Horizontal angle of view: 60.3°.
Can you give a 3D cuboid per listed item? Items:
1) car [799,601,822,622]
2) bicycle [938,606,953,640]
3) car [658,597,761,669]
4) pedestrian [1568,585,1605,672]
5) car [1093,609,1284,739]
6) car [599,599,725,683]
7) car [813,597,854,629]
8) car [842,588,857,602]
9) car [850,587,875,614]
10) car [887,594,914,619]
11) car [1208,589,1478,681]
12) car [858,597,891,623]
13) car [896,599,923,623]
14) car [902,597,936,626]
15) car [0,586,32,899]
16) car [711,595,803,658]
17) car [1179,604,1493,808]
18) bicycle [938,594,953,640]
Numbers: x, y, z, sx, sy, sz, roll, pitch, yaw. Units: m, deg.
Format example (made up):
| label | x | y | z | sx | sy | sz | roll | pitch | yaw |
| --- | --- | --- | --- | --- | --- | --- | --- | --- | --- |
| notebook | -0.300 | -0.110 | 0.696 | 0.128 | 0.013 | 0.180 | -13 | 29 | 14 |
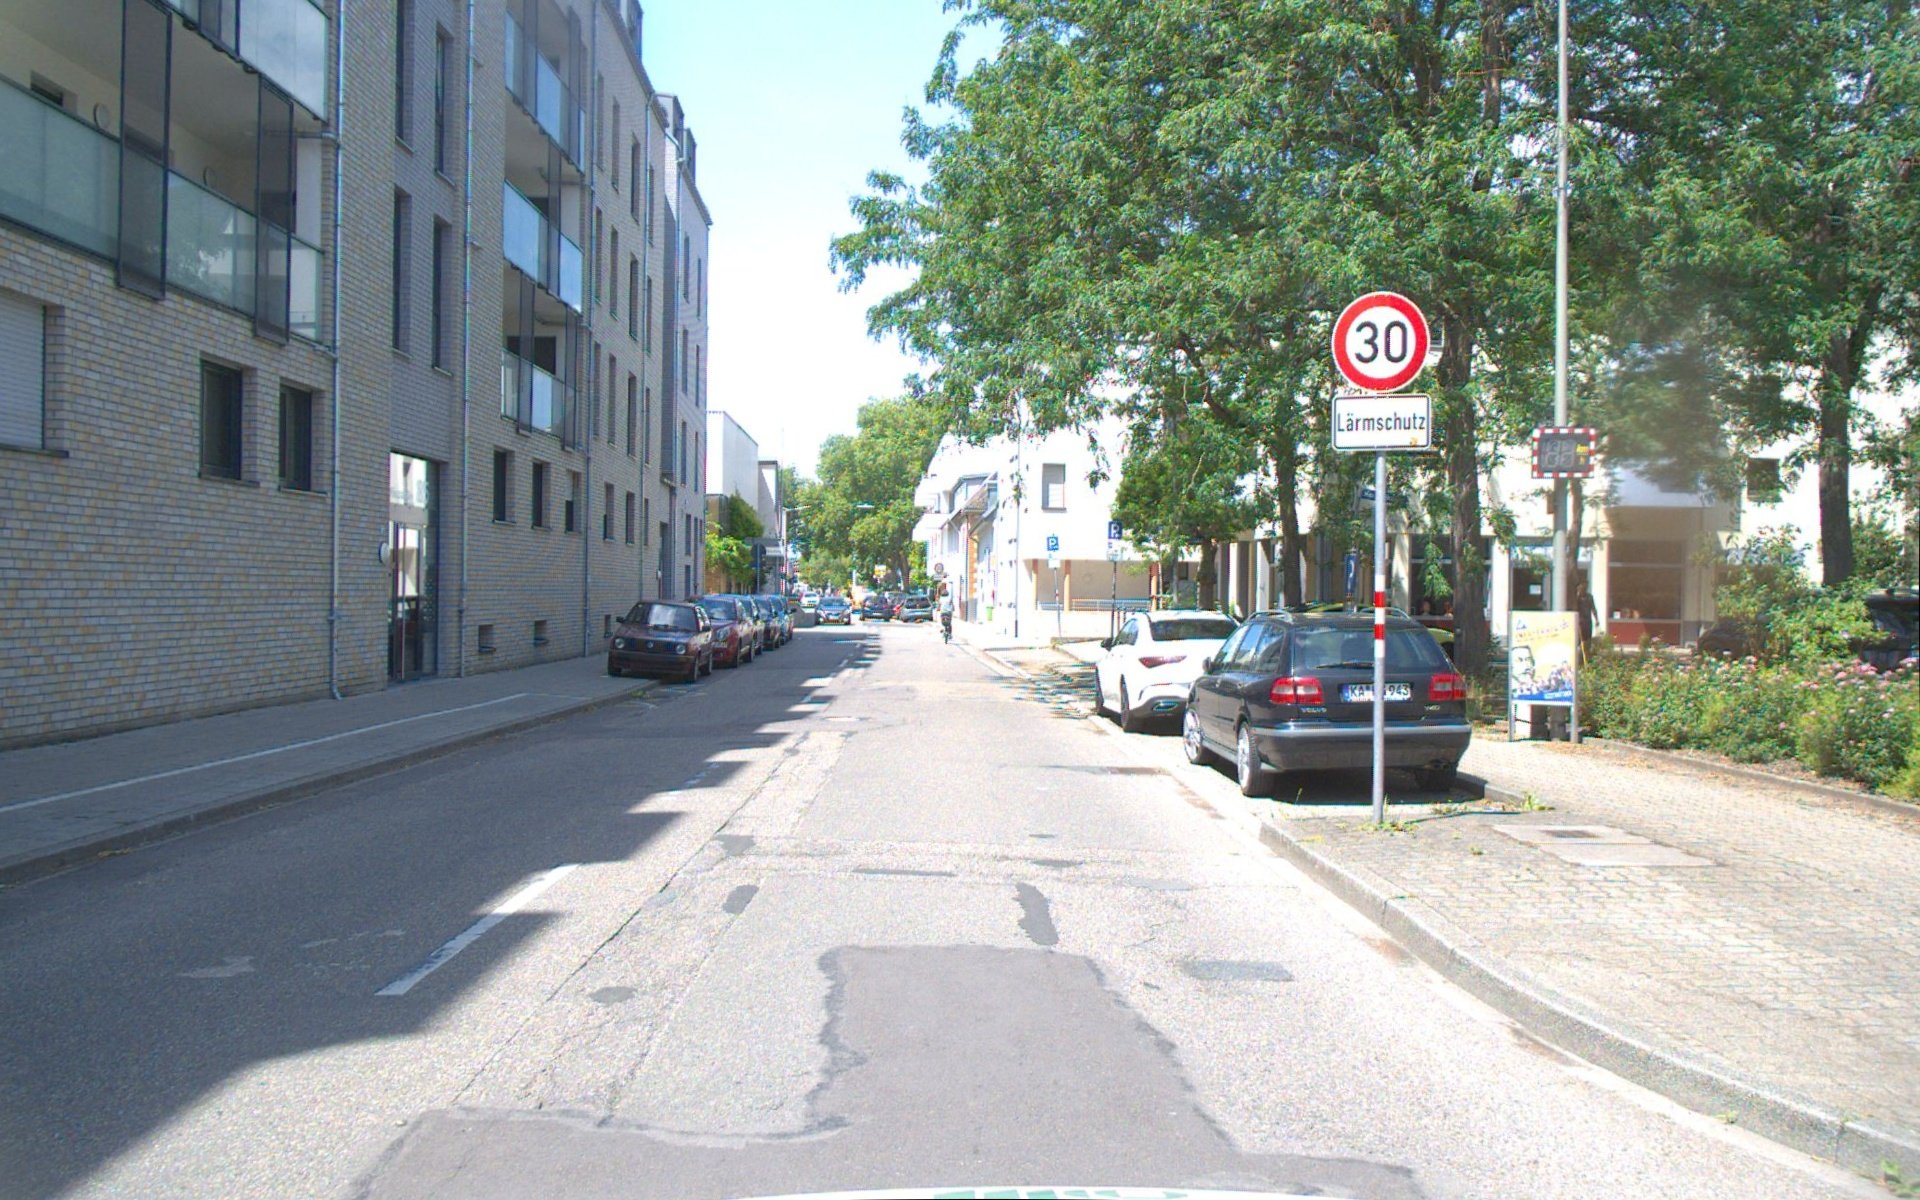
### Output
| label | x | y | z | sx | sy | sz | roll | pitch | yaw |
| --- | --- | --- | --- | --- | --- | --- | --- | --- | --- |
| car | -14.421 | 1.105 | 160.060 | 1.953 | 2.049 | 3.999 | 1 | 0 | -2 |
| bicycle | -0.475 | 0.755 | 55.207 | 0.473 | 1.134 | 1.195 | 1 | 0 | -2 |
| car | -5.435 | 0.689 | 36.331 | 1.697 | 1.467 | 3.999 | 1 | 0 | -1 |
| pedestrian | 13.680 | 0.613 | 36.098 | 0.586 | 1.891 | 0.600 | 0 | 0 | 40 |
| car | 2.760 | 0.849 | 20.784 | 1.743 | 1.445 | 3.999 | 1 | 0 | -2 |
| car | -5.566 | 0.723 | 31.318 | 1.697 | 1.467 | 3.999 | 1 | 0 | -1 |
| car | -6.399 | 0.637 | 84.180 | 1.954 | 1.545 | 3.998 | 0 | 0 | -3 |
| car | -15.671 | -0.704 | 234.883 | 2.114 | 2.049 | 3.997 | 1 | 0 | -4 |
| car | -7.489 | 0.027 | 127.175 | 1.802 | 2.049 | 3.998 | 1 | 0 | -3 |
| car | -4.036 | 0.435 | 113.055 | 1.788 | 1.671 | 3.533 | 1 | 0 | -2 |
| car | 6.884 | 0.621 | 29.854 | 4.307 | 1.405 | 1.991 | 3 | 0 | -17 |
| car | -4.969 | 0.569 | 96.411 | 1.680 | 1.426 | 4.000 | 1 | 1 | 0 |
| car | -3.320 | 0.701 | 108.080 | 1.717 | 1.477 | 3.677 | 1 | 0 | -2 |
| car | -2.424 | 0.656 | 96.707 | 1.953 | 1.646 | 3.998 | 1 | 0 | -2 |
| car | -5.272 | 0.645 | 6.138 | 1.558 | 1.481 | 3.702 | 2 | 0 | -1 |
| car | -5.162 | 0.641 | 42.463 | 1.789 | 1.445 | 4.000 | 3 | 0 | 0 |
| car | 3.041 | 0.786 | 14.200 | 1.658 | 1.445 | 3.999 | -2 | 0 | -2 |
| bicycle | -0.483 | 0.564 | 55.219 | 0.467 | 1.516 | 0.576 | 1 | 0 | -2 |
